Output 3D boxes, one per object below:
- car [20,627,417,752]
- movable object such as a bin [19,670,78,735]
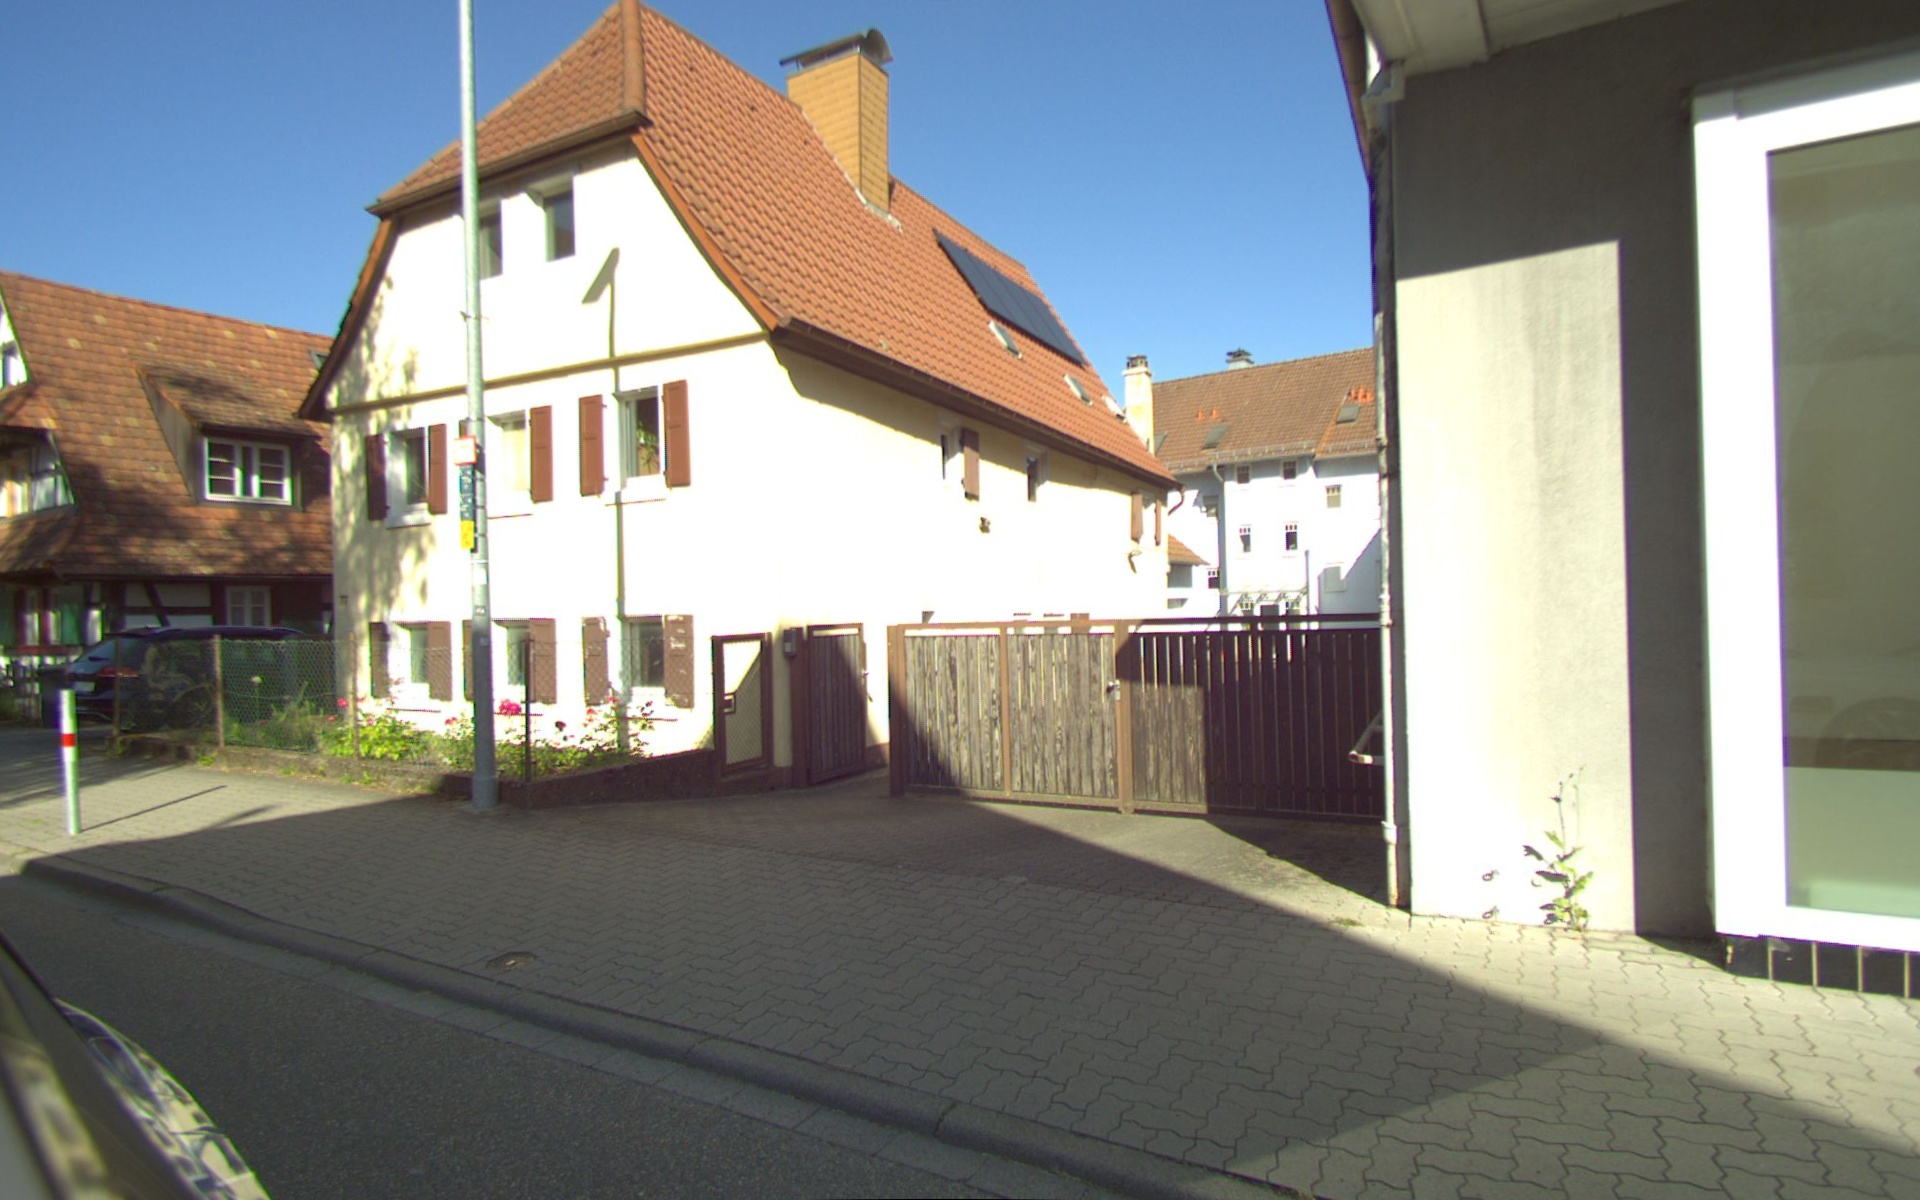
[{"bbox_3d":[-10.148,1.168,14.242,1.838,1.473,4.135,-2,-3,26],"label":"car"},{"bbox_3d":[-13.223,1.478,14.698,0.576,0.905,0.556,2,-4,-39],"label":"movable object such as a bin"}]
